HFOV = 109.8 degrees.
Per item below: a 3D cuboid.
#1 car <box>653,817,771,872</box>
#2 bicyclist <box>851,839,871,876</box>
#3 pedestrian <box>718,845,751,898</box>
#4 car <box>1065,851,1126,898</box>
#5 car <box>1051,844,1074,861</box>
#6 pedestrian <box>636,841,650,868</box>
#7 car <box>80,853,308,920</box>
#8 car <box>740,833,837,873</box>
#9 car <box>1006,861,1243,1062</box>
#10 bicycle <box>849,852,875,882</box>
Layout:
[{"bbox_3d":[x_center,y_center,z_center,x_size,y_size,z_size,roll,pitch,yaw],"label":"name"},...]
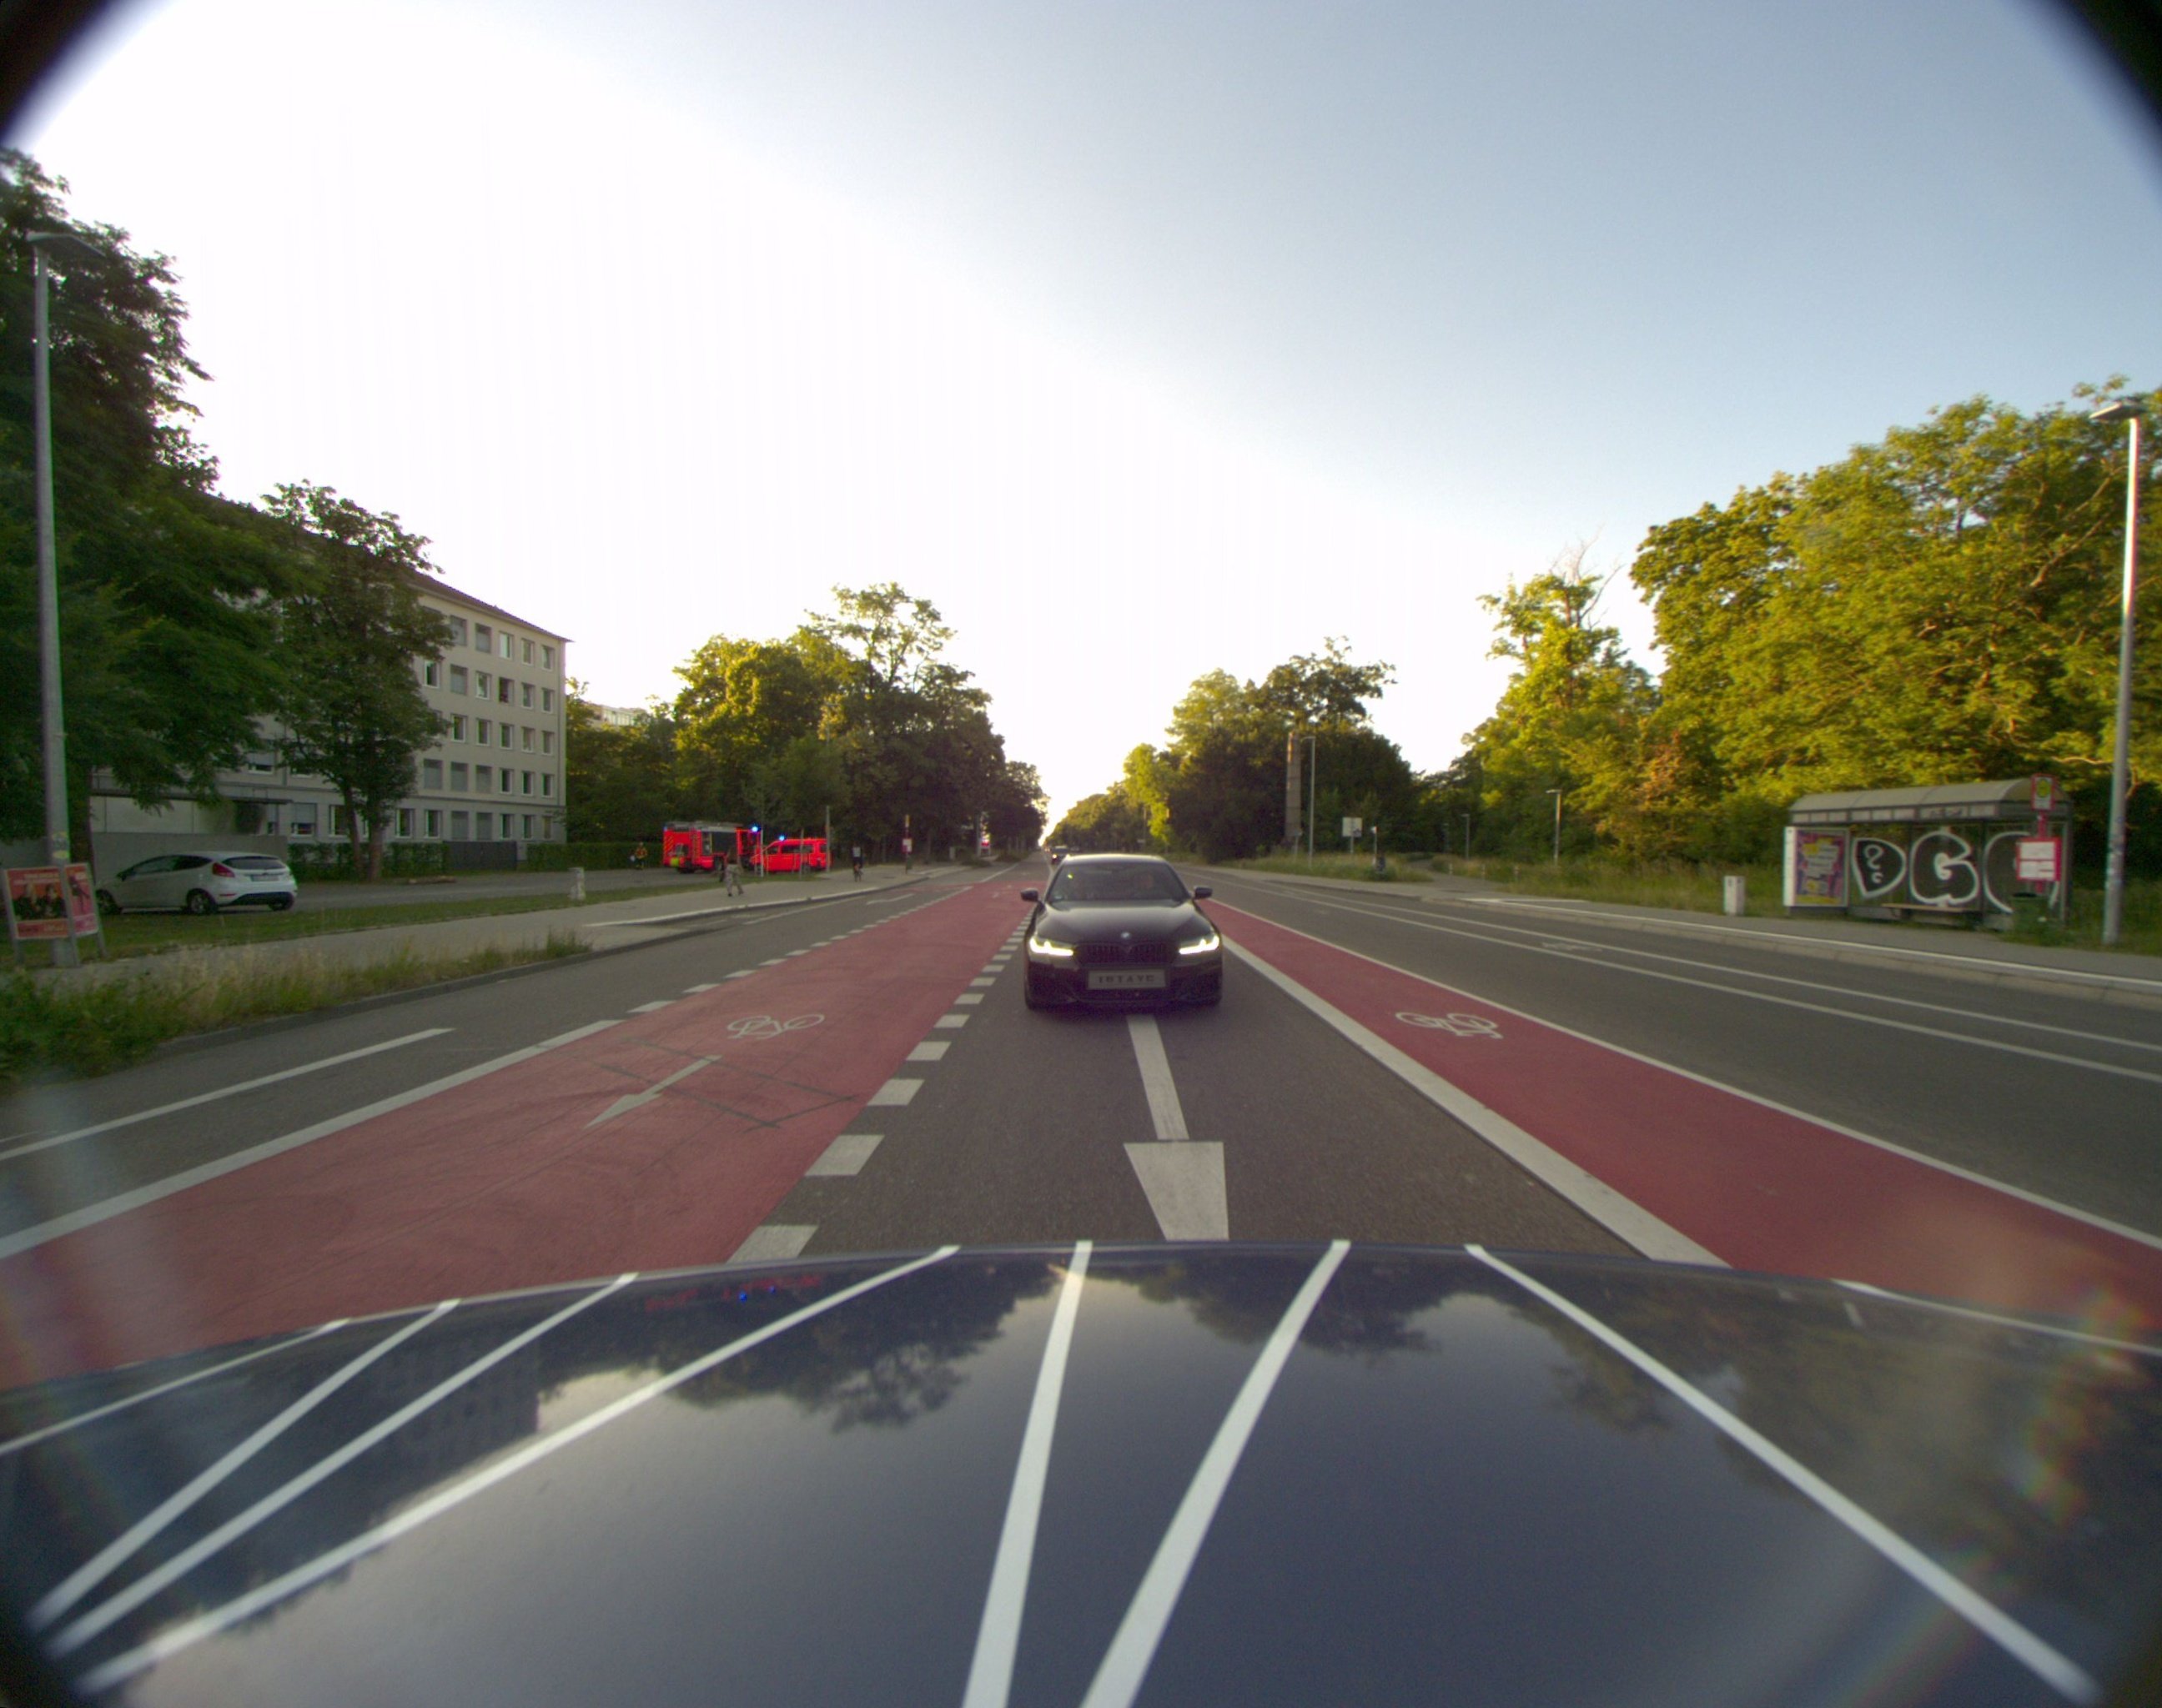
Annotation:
[{"bbox_3d":[-23.630,-0.612,49.258,2.770,3.225,8.301,0,1,7],"label":"car"},{"bbox_3d":[-9.715,0.158,33.580,0.571,1.623,1.037,0,1,1],"label":"bicyclist"},{"bbox_3d":[-10.712,0.527,23.490,0.682,1.613,0.688,0,1,1],"label":"pedestrian"},{"bbox_3d":[0.399,0.617,25.714,1.850,1.346,4.702,-2,1,-1],"label":"car"},{"bbox_3d":[-1.837,-0.171,74.201,1.851,1.473,4.700,-2,1,-5],"label":"car"},{"bbox_3d":[-29.621,0.010,51.418,0.683,1.831,0.844,0,1,-19],"label":"pedestrian"},{"bbox_3d":[-20.810,0.721,17.914,3.662,1.451,1.665,0,1,5],"label":"car"},{"bbox_3d":[-17.949,-0.049,46.737,5.164,2.379,2.000,0,1,3],"label":"car"},{"bbox_3d":[0.289,0.866,8.577,1.818,1.391,5.212,-2,1,-1],"label":"car"},{"bbox_3d":[-9.712,0.557,33.706,0.571,1.233,1.899,0,1,1],"label":"bicycle"}]
